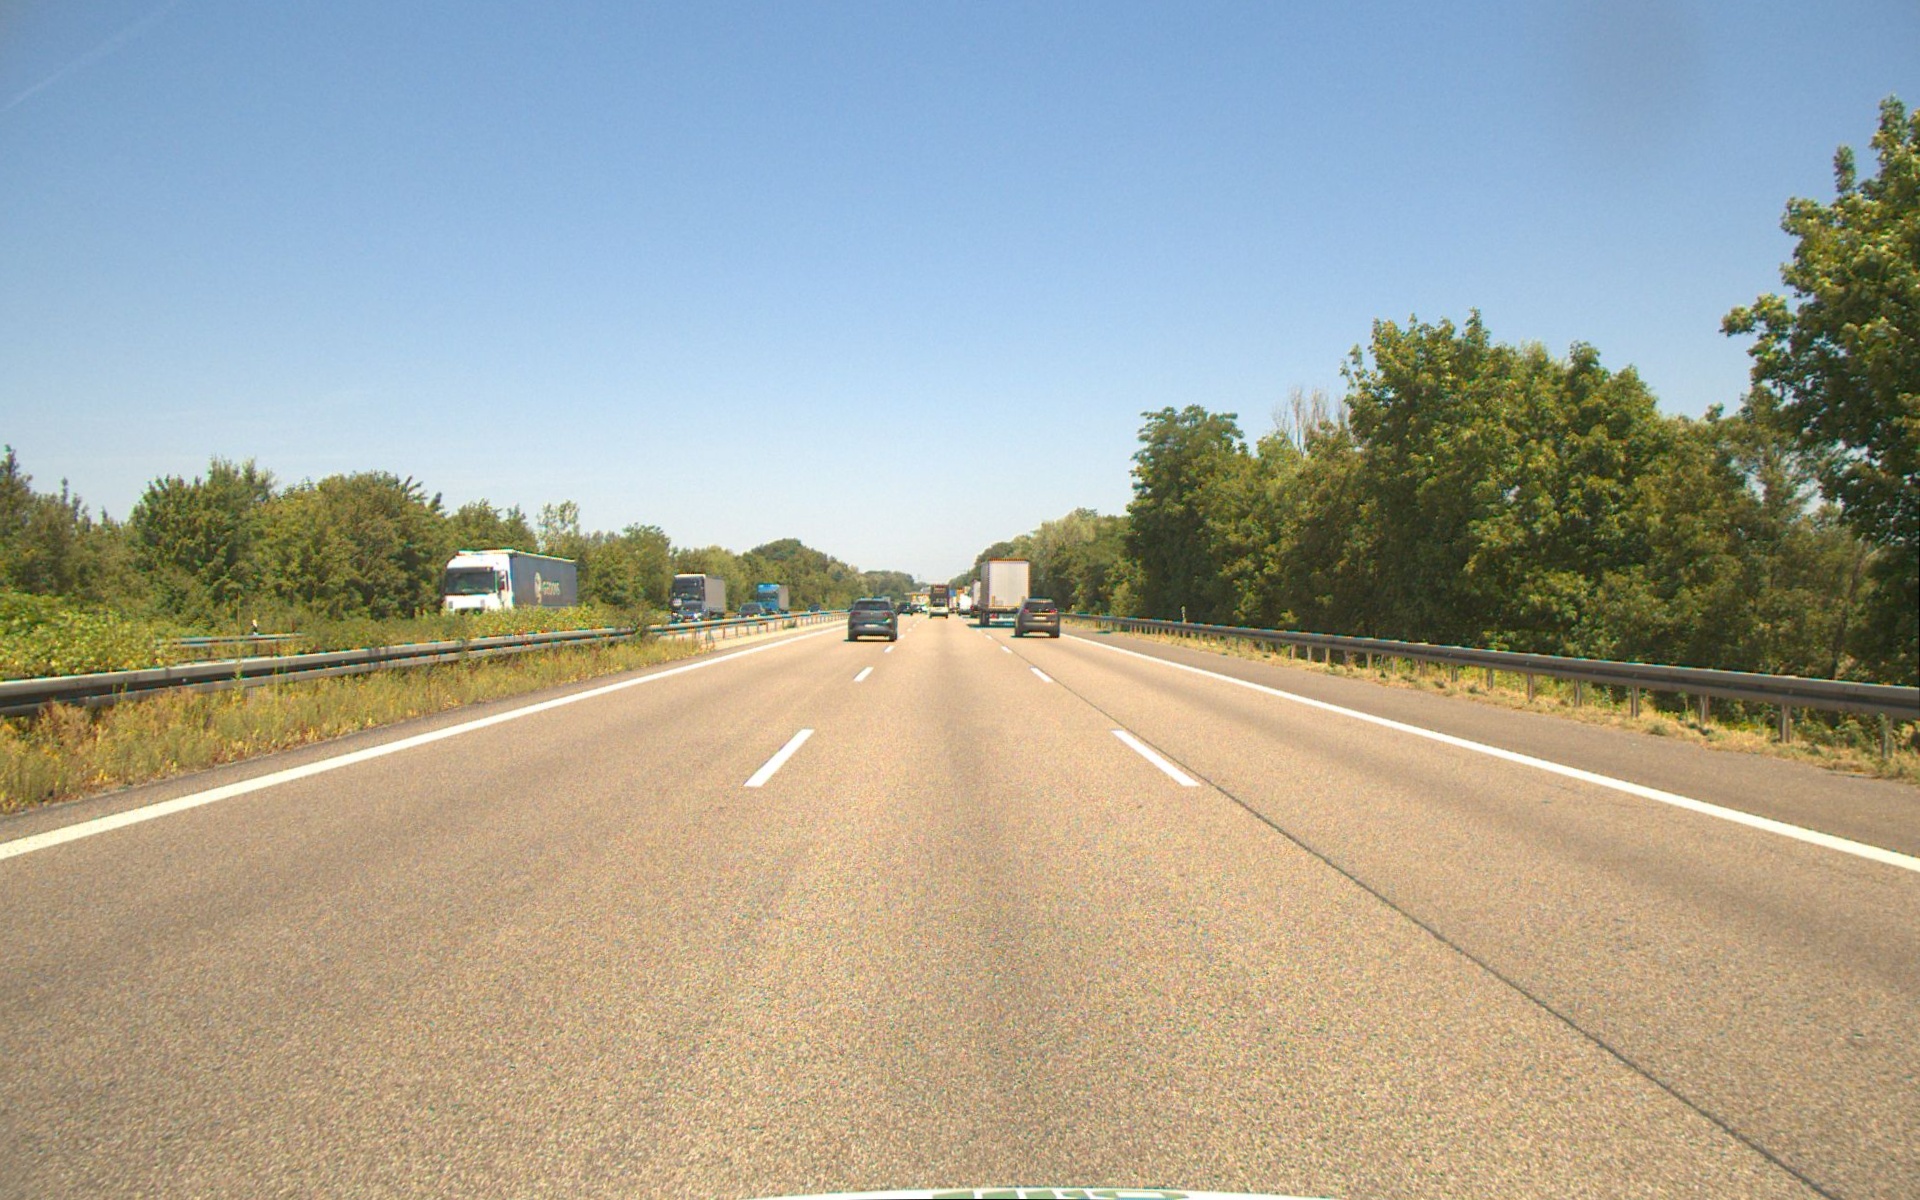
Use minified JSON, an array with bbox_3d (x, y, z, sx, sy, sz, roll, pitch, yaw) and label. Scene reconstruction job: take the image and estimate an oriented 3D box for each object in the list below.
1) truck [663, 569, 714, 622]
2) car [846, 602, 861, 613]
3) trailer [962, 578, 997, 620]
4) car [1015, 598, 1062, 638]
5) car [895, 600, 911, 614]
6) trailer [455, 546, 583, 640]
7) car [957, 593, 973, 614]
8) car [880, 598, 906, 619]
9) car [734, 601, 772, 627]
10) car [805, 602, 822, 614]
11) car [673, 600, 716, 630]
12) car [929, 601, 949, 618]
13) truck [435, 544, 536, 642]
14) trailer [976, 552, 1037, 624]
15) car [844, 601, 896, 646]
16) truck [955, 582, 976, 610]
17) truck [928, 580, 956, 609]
[{"bbox_3d":[-22.561,-0.381,137.536,3.133,4.201,6.193,-2,0,-1],"label":"truck"},{"bbox_3d":[-15.426,1.050,239.545,1.813,1.488,5.167,-3,0,-2],"label":"car"},{"bbox_3d":[1.893,-0.156,166.062,3.059,3.995,9.933,1,0,-2],"label":"trailer"},{"bbox_3d":[3.365,0.757,71.688,1.807,1.657,4.134,0,0,0],"label":"car"},{"bbox_3d":[-6.891,0.850,201.162,1.869,1.557,4.285,1,1,-1],"label":"car"},{"bbox_3d":[-22.004,-0.304,83.503,2.860,4.259,13.538,-2,0,-1],"label":"trailer"},{"bbox_3d":[0.628,0.465,202.905,1.869,2.467,4.285,1,1,-1],"label":"car"},{"bbox_3d":[-5.321,0.631,131.530,1.862,1.557,4.083,1,1,-1],"label":"car"},{"bbox_3d":[-13.450,0.877,107.637,1.716,1.509,4.726,-5,0,0],"label":"car"},{"bbox_3d":[-19.847,1.070,224.100,1.812,1.488,4.313,3,0,-1],"label":"car"},{"bbox_3d":[-18.288,1.025,114.048,2.183,2.023,5.355,1,0,-1],"label":"car"},{"bbox_3d":[-1.991,0.900,157.013,1.862,1.557,4.083,1,1,-1],"label":"car"},{"bbox_3d":[-21.877,-0.301,76.590,2.857,4.201,6.192,-3,0,-1],"label":"truck"},{"bbox_3d":[2.825,-0.651,105.459,3.364,4.254,13.630,1,0,0],"label":"trailer"},{"bbox_3d":[-3.336,0.842,61.887,1.723,1.557,4.285,1,1,-1],"label":"car"},{"bbox_3d":[0.772,-0.587,231.510,2.735,3.791,7.108,1,0,0],"label":"truck"},{"bbox_3d":[-2.450,-0.747,226.694,3.592,3.791,7.108,1,0,0],"label":"truck"}]
